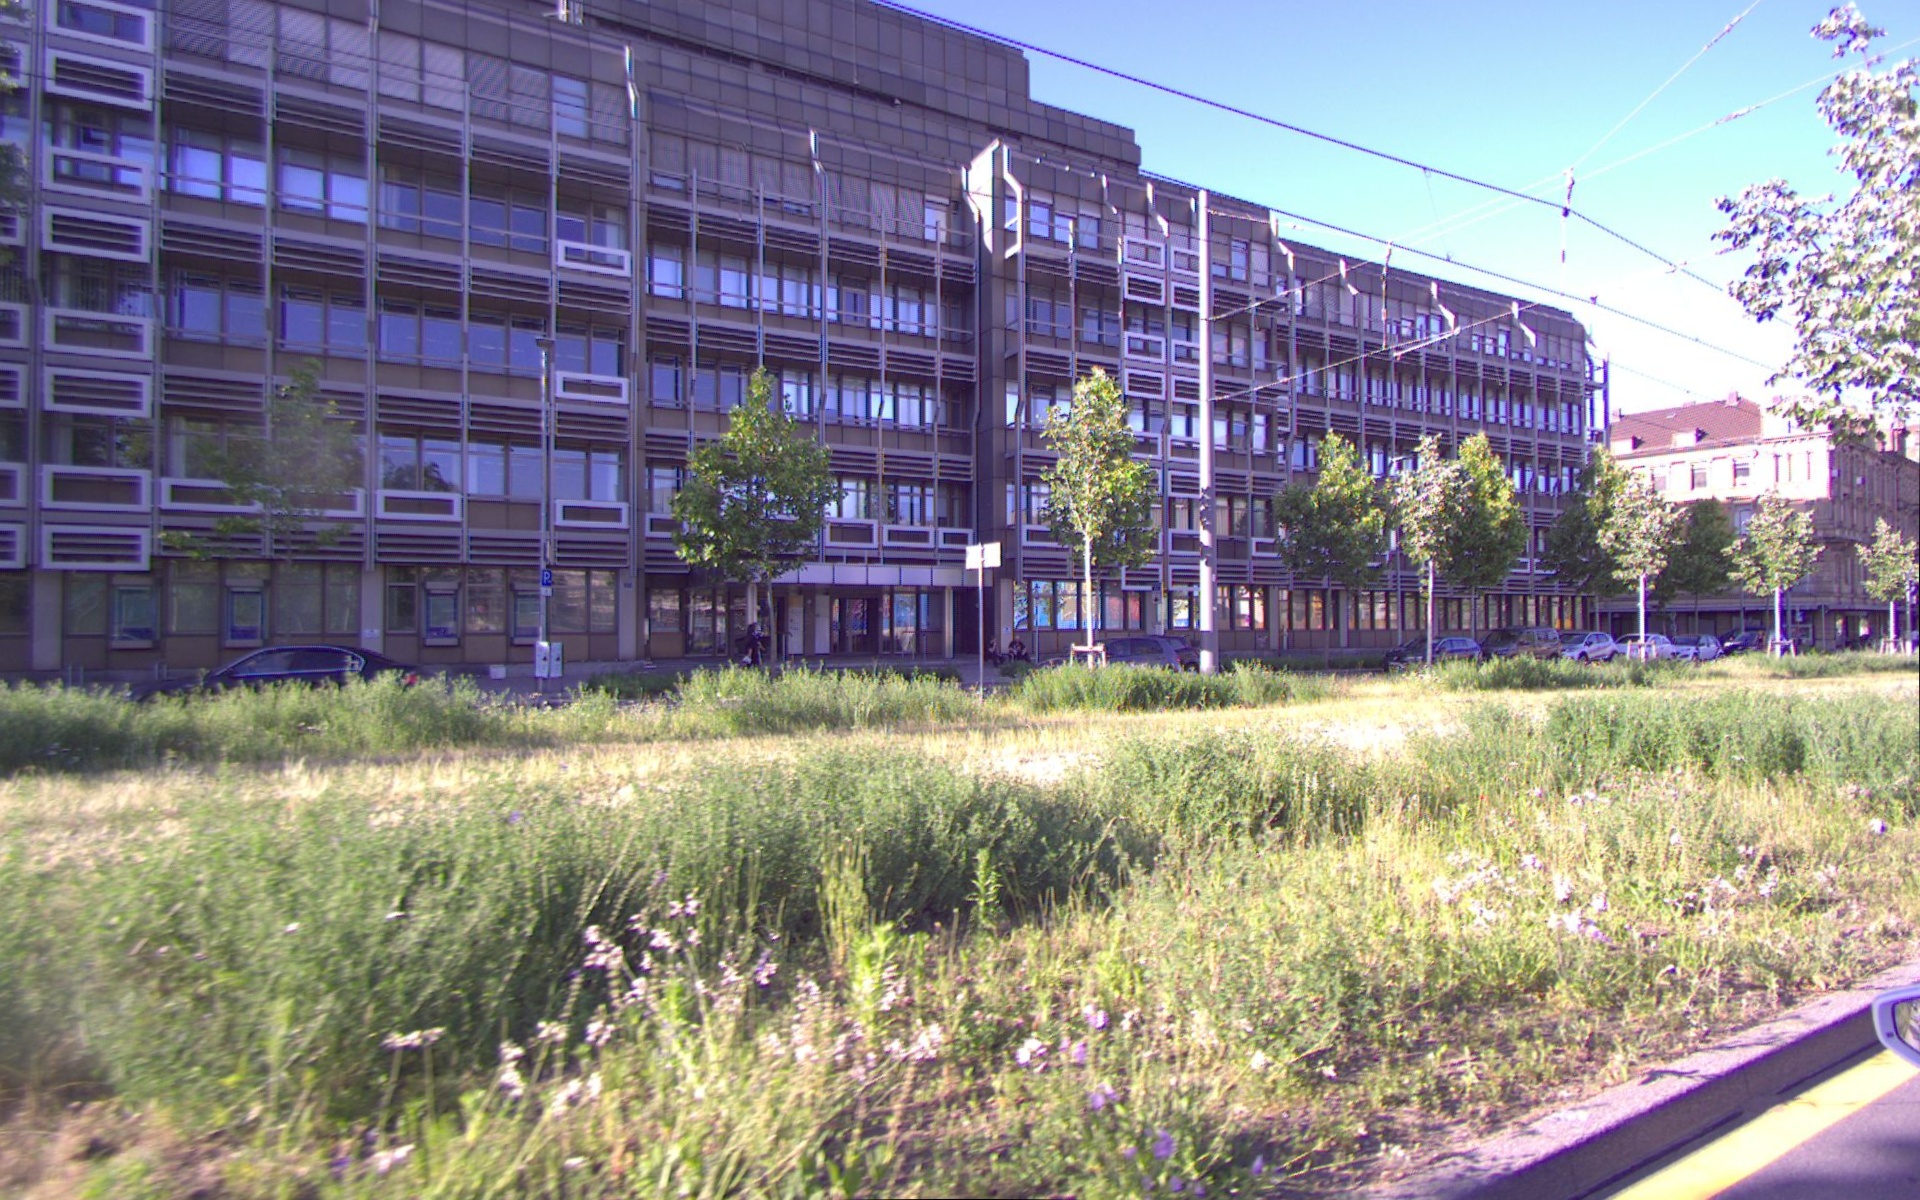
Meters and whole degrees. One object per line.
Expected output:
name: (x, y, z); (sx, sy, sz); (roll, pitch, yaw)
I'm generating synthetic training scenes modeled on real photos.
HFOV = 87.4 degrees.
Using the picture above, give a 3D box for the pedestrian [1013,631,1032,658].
pedestrian: (2.344, 1.660, 37.855); (0.492, 0.999, 0.615); (1, -2, -27)

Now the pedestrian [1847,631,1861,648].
pedestrian: (70.162, 3.093, 78.828); (0.920, 1.263, 0.685); (1, -2, -36)

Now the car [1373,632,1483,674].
car: (18.334, 2.044, 39.307); (4.452, 1.489, 1.720); (1, 0, -31)

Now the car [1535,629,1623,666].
car: (27.559, 2.083, 44.704); (3.838, 1.556, 1.730); (1, -1, -30)

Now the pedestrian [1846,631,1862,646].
pedestrian: (71.873, 3.070, 80.762); (0.920, 1.224, 0.786); (1, -2, -36)

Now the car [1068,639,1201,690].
car: (5.574, 2.000, 31.934); (3.990, 1.406, 1.708); (0, 1, -29)

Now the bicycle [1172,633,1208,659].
bicycle: (9.848, 1.969, 43.101); (0.419, 1.086, 1.924); (0, -2, -24)

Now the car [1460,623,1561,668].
car: (23.123, 1.869, 42.144); (4.279, 1.795, 1.742); (1, 0, -30)

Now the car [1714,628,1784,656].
car: (43.198, 2.272, 54.991); (3.853, 1.481, 1.722); (1, 0, -30)

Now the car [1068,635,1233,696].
car: (4.912, 1.639, 25.850); (3.988, 1.405, 1.709); (1, -1, -28)

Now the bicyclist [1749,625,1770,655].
bicyclist: (39.222, 1.971, 49.283); (0.698, 1.476, 0.562); (0, -2, -31)

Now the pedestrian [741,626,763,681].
pedestrian: (-6.085, 1.559, 29.357); (0.529, 1.599, 0.519); (1, -2, -26)

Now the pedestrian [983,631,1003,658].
pedestrian: (1.221, 1.639, 37.298); (0.492, 0.999, 0.615); (1, -2, -27)

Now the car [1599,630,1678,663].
car: (32.116, 2.174, 47.521); (3.773, 1.460, 1.617); (1, 0, -30)

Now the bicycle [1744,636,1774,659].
bicycle: (39.190, 2.338, 49.252); (1.750, 1.110, 0.562); (1, -2, -31)

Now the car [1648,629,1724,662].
car: (36.532, 2.248, 50.554); (3.918, 1.574, 1.642); (1, -1, -30)

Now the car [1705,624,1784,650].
car: (60.357, 2.856, 77.335); (1.884, 1.928, 4.470); (1, -2, -41)

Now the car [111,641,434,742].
car: (-11.483, 1.478, 17.185); (4.361, 1.515, 1.621); (1, -2, -28)

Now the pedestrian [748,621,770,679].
pedestrian: (-6.124, 1.508, 30.617); (0.529, 1.744, 0.519); (1, -2, -26)
